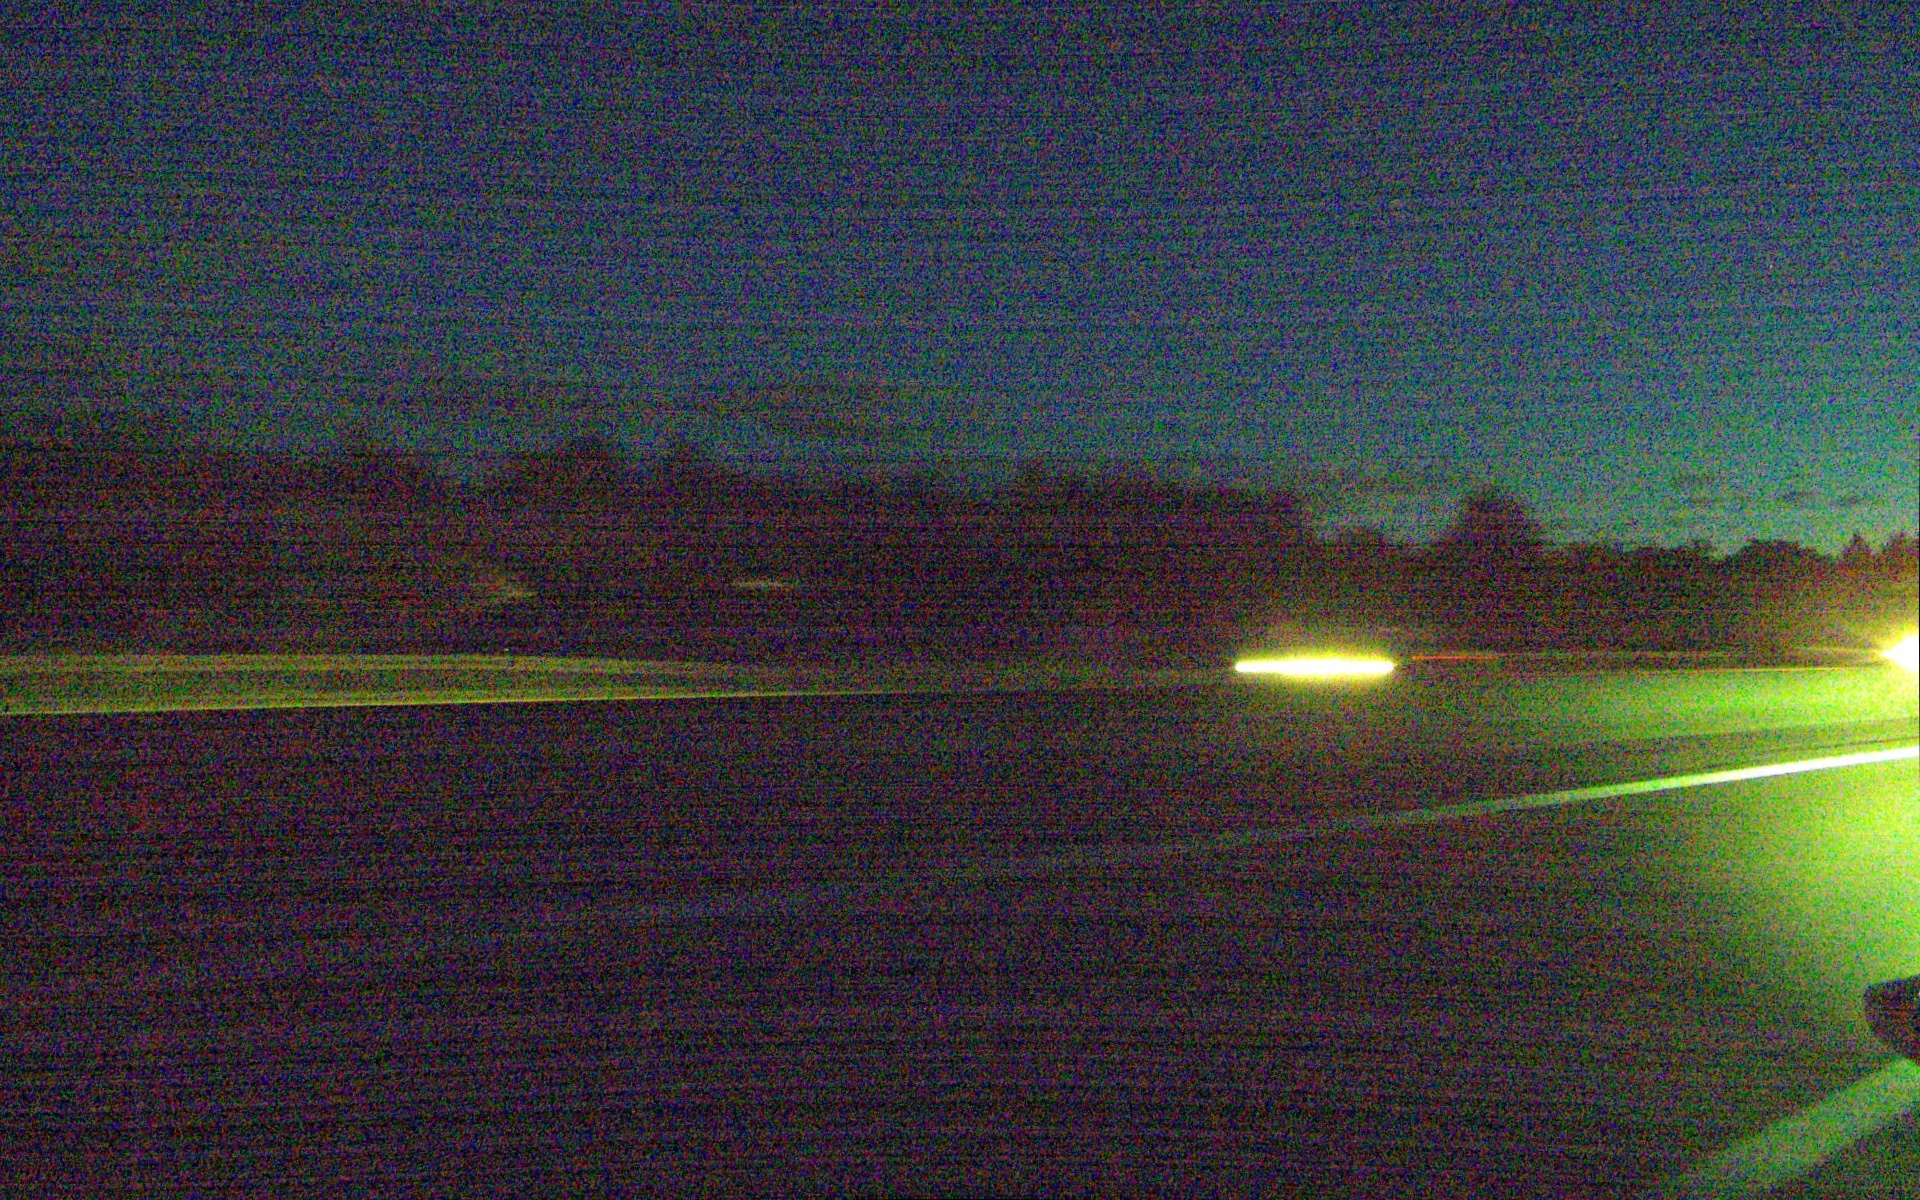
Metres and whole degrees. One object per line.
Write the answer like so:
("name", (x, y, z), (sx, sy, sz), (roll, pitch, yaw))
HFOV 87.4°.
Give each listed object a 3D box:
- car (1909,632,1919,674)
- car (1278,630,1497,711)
("car", (48.454, 2.602, 48.769), (5.333, 1.994, 2.019), (2, -2, -30))
("car", (9.546, 1.515, 22.336), (4.894, 1.625, 1.924), (2, -2, -29))
